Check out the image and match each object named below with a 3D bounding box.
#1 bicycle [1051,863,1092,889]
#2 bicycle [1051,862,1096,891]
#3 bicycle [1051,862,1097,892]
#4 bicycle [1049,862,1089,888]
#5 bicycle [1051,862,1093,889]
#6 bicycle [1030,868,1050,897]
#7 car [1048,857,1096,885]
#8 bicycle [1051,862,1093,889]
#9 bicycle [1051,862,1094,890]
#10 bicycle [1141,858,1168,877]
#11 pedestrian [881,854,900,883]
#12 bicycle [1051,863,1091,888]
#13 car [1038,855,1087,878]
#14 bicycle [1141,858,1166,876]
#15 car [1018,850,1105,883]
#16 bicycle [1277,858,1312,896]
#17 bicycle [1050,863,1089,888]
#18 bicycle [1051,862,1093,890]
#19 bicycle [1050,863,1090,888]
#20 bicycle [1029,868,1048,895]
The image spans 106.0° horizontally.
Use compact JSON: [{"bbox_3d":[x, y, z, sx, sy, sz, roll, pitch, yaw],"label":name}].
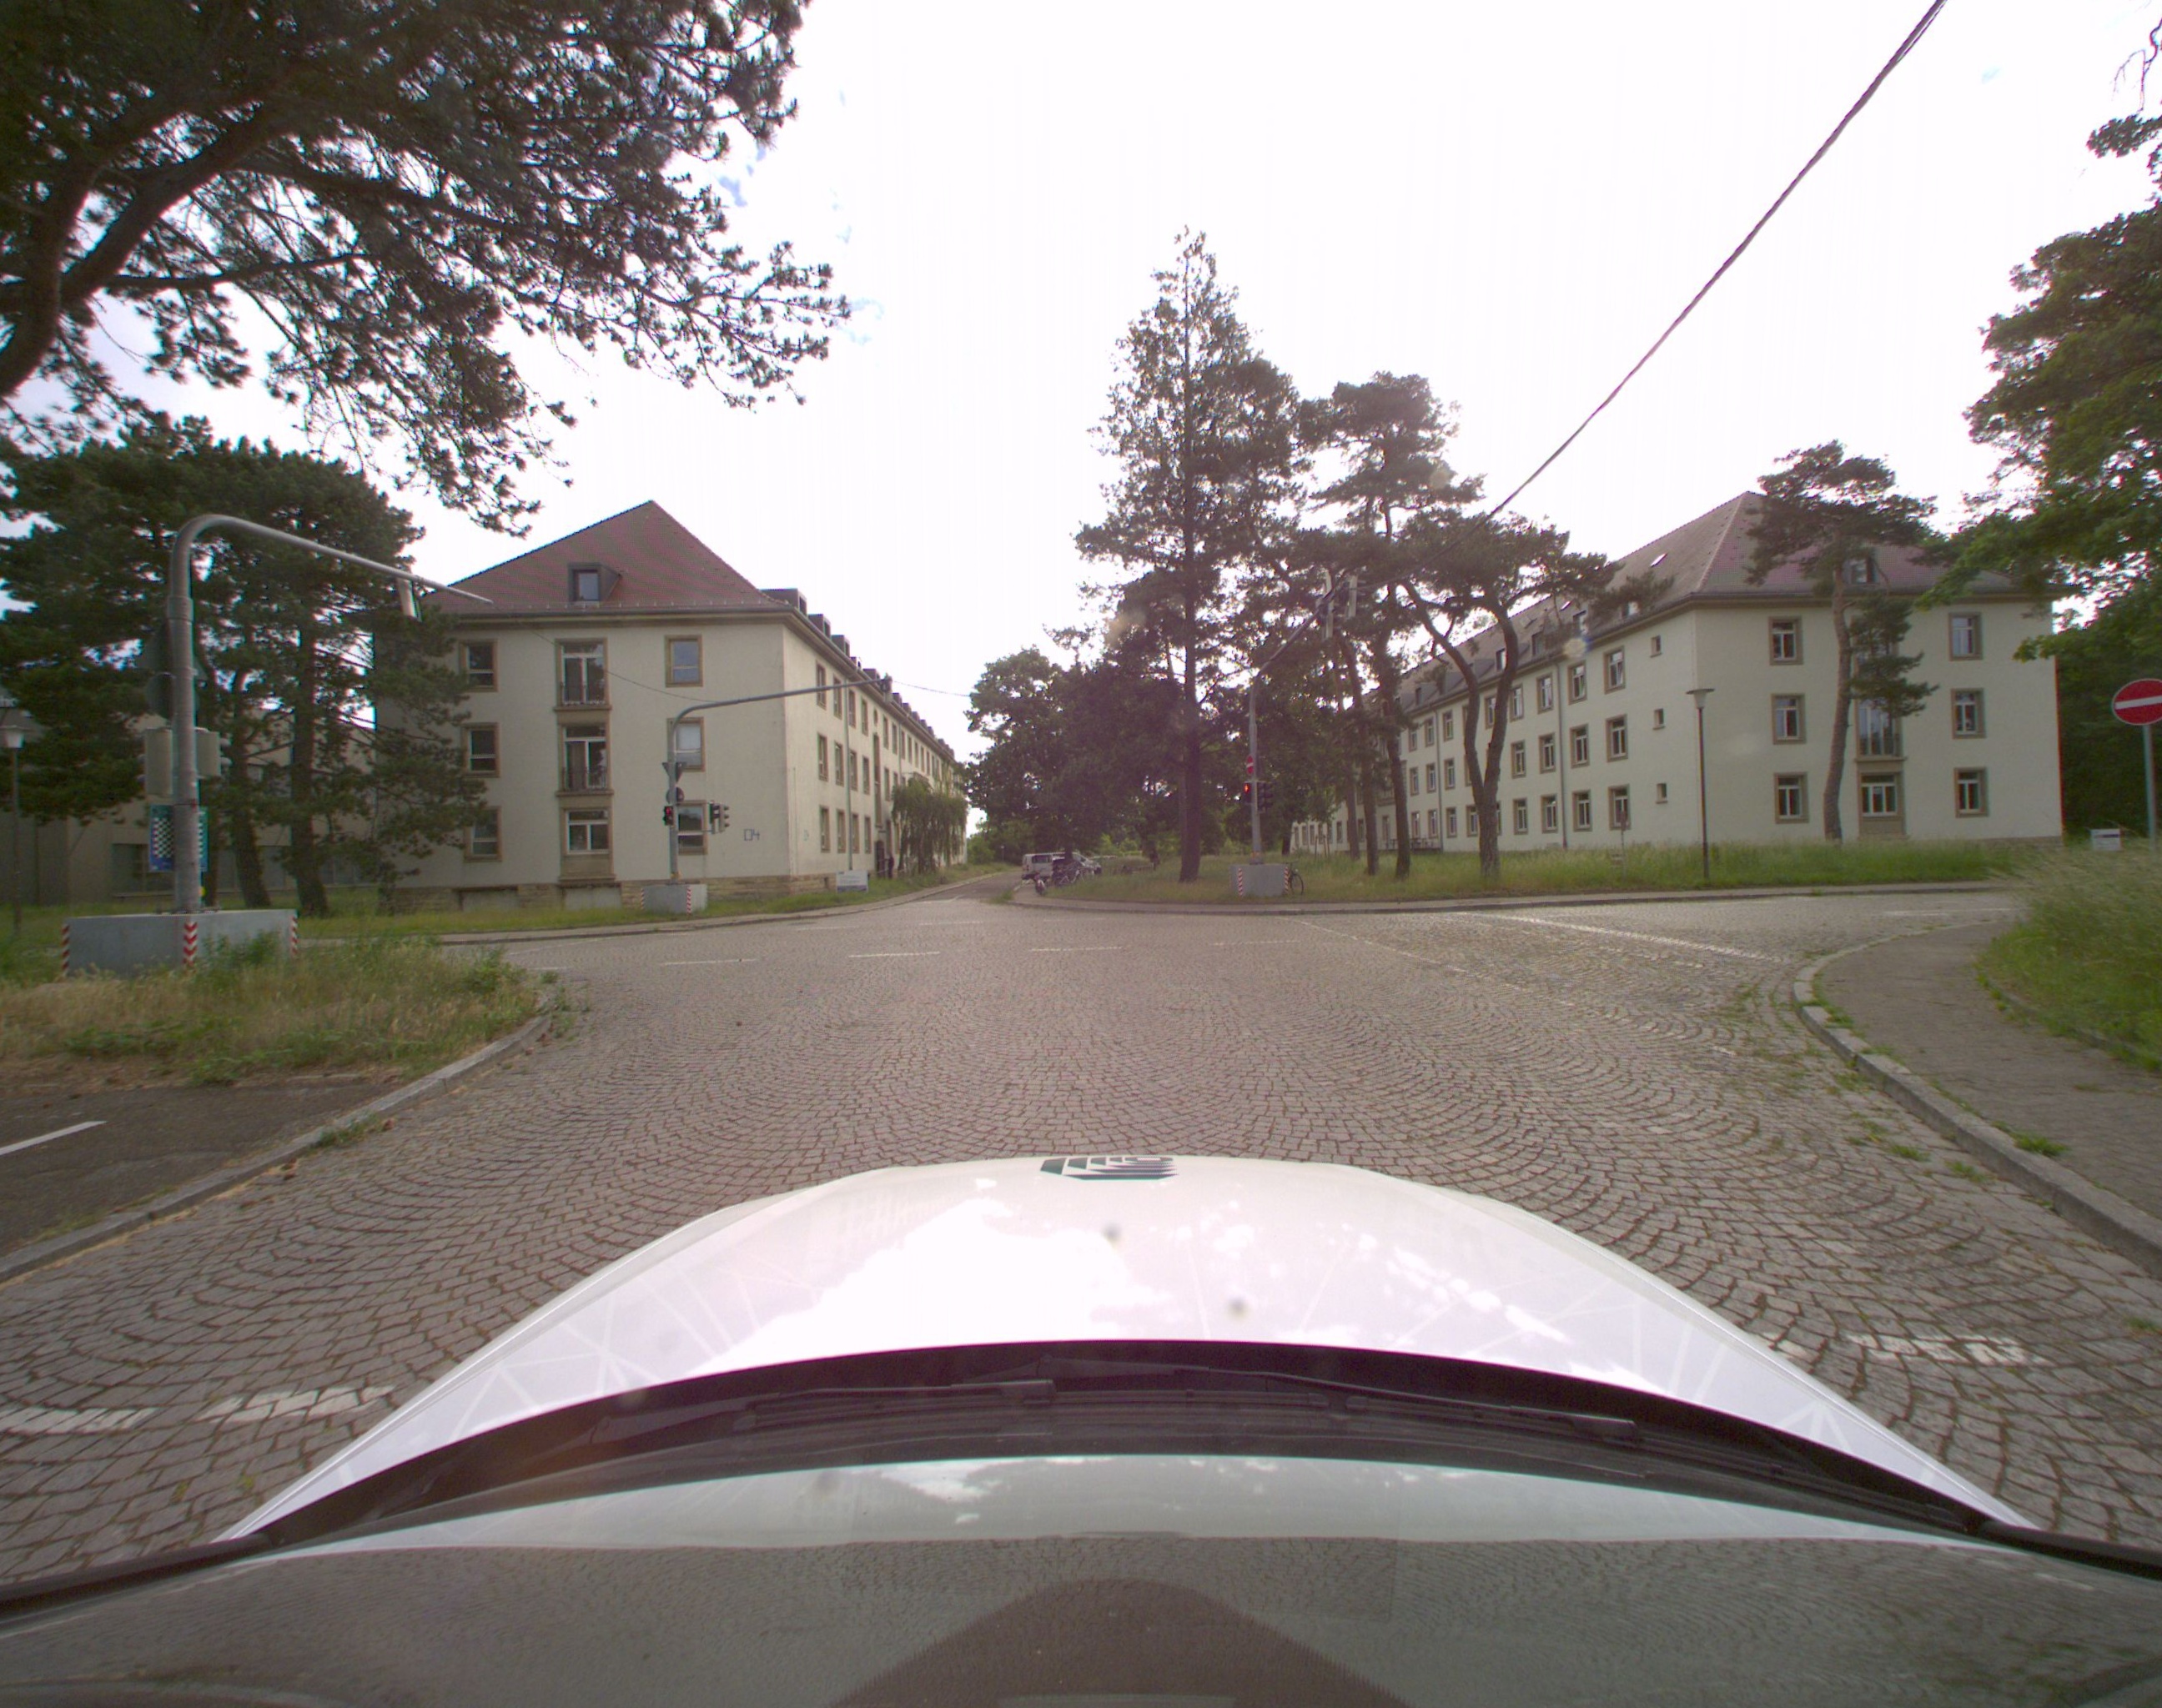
[{"bbox_3d":[-0.492,1.056,39.909,1.978,1.248,0.623,-1,-1,-4],"label":"bicycle"},{"bbox_3d":[-0.347,1.014,36.537,1.978,1.248,0.623,-1,-1,-4],"label":"bicycle"},{"bbox_3d":[-0.322,1.006,35.909,1.978,1.248,0.623,-1,-1,-4],"label":"bicycle"},{"bbox_3d":[-0.616,1.086,42.215,1.978,1.248,0.623,-3,-1,-4],"label":"bicycle"},{"bbox_3d":[-0.449,1.044,38.951,1.978,1.248,0.623,-1,-1,-4],"label":"bicycle"},{"bbox_3d":[-1.632,1.114,32.480,0.620,1.113,1.989,-1,-1,1],"label":"bicycle"},{"bbox_3d":[-0.559,1.022,50.525,2.841,1.558,1.471,-2,1,-3],"label":"car"},{"bbox_3d":[-0.454,1.051,39.477,1.978,1.248,0.623,-1,-1,-4],"label":"bicycle"},{"bbox_3d":[-0.396,1.026,37.461,1.978,1.248,0.623,-1,-1,-4],"label":"bicycle"},{"bbox_3d":[4.491,0.802,49.662,1.544,1.125,0.401,-2,-1,-1],"label":"bicycle"},{"bbox_3d":[-12.011,0.896,51.370,0.833,1.781,0.942,-2,-1,3],"label":"pedestrian"},{"bbox_3d":[-0.512,1.064,40.552,1.978,1.248,0.623,-1,-1,-4],"label":"bicycle"},{"bbox_3d":[-1.571,1.037,67.851,4.023,1.718,1.679,-2,-1,-3],"label":"car"},{"bbox_3d":[4.521,0.814,50.895,1.544,1.125,0.401,-2,-1,-1],"label":"bicycle"},{"bbox_3d":[-1.301,0.818,53.975,5.316,1.916,2.138,-2,0,-17],"label":"car"},{"bbox_3d":[6.214,0.656,23.745,0.578,0.970,1.679,-4,1,2],"label":"bicycle"},{"bbox_3d":[-0.590,1.077,41.556,1.978,1.248,0.623,-1,-1,-4],"label":"bicycle"},{"bbox_3d":[-0.430,1.036,38.319,1.978,1.248,0.623,-1,-1,-4],"label":"bicycle"},{"bbox_3d":[-0.555,1.071,41.064,1.978,1.248,0.623,-1,-1,-4],"label":"bicycle"},{"bbox_3d":[-1.774,1.155,34.429,0.620,1.082,1.678,-1,-1,2],"label":"bicycle"}]
